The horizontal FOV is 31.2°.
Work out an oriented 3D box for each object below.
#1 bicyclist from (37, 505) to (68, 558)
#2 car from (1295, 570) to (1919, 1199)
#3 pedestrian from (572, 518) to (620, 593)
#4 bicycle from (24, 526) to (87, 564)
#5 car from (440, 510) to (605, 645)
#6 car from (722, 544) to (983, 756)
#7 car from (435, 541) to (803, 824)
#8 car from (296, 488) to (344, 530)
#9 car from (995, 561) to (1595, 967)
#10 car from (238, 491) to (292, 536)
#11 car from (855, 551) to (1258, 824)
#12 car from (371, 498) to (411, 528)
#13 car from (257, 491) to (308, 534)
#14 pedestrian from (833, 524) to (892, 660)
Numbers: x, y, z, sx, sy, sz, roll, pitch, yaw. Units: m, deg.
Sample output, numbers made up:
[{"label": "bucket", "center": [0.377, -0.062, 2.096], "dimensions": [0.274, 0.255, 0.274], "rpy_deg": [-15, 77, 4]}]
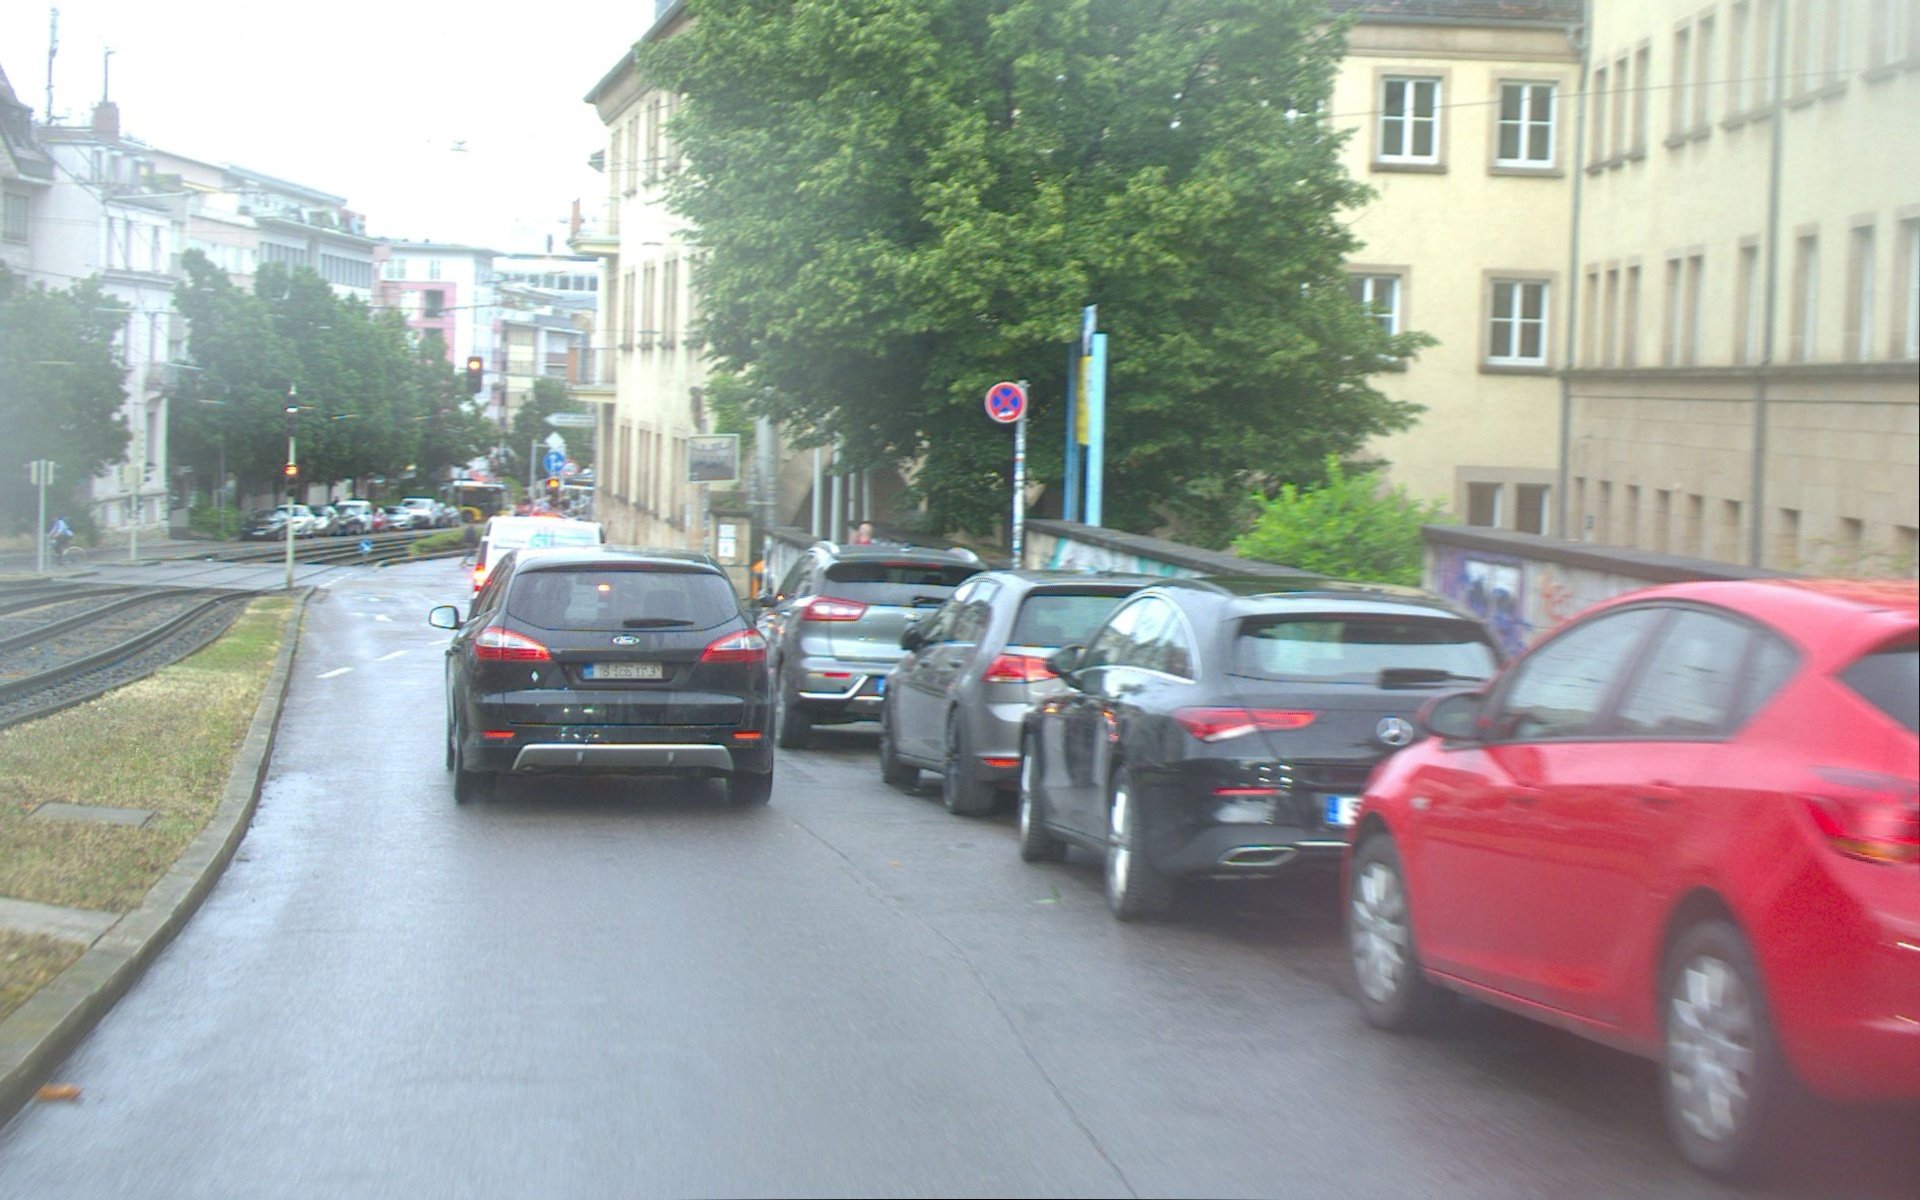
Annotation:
[{"label": "bicyclist", "center": [-27.329, -2.074, 103.544], "dimensions": [0.462, 1.568, 0.700], "rpy_deg": [3, 1, 44]}, {"label": "car", "center": [2.358, 0.692, 9.738], "dimensions": [1.665, 1.471, 4.067], "rpy_deg": [1, 1, -11]}, {"label": "pedestrian", "center": [-8.831, -1.091, 83.393], "dimensions": [1.044, 1.789, 0.902], "rpy_deg": [1, 1, -12]}, {"label": "bicycle", "center": [-27.261, -1.654, 103.634], "dimensions": [0.457, 1.060, 1.798], "rpy_deg": [3, 1, 44]}, {"label": "car", "center": [-5.972, -0.353, 47.290], "dimensions": [2.136, 1.739, 4.219], "rpy_deg": [1, 2, -6]}, {"label": "car", "center": [-0.917, 0.326, 26.971], "dimensions": [1.665, 1.519, 4.110], "rpy_deg": [0, 1, -7]}, {"label": "car", "center": [-2.146, 0.424, 20.644], "dimensions": [1.919, 1.474, 4.001], "rpy_deg": [1, 2, -9]}, {"label": "car", "center": [-32.243, -4.582, 173.200], "dimensions": [1.993, 2.007, 4.001], "rpy_deg": [2, 1, -5]}, {"label": "car", "center": [1.285, 0.587, 15.080], "dimensions": [1.665, 1.471, 4.458], "rpy_deg": [0, 1, -7]}, {"label": "car", "center": [-32.424, -4.015, 160.444], "dimensions": [1.993, 2.007, 4.001], "rpy_deg": [2, 1, -5]}, {"label": "car", "center": [0.478, 0.454, 20.979], "dimensions": [1.665, 1.471, 4.110], "rpy_deg": [0, 1, -10]}, {"label": "car", "center": [-32.649, -4.987, 197.367], "dimensions": [1.993, 1.656, 4.001], "rpy_deg": [2, 1, -5]}, {"label": "car", "center": [-32.838, -4.253, 166.737], "dimensions": [1.993, 2.007, 4.001], "rpy_deg": [2, 1, -5]}, {"label": "pedestrian", "center": [-1.249, -0.101, 43.909], "dimensions": [0.632, 1.715, 0.711], "rpy_deg": [1, 1, -9]}]
